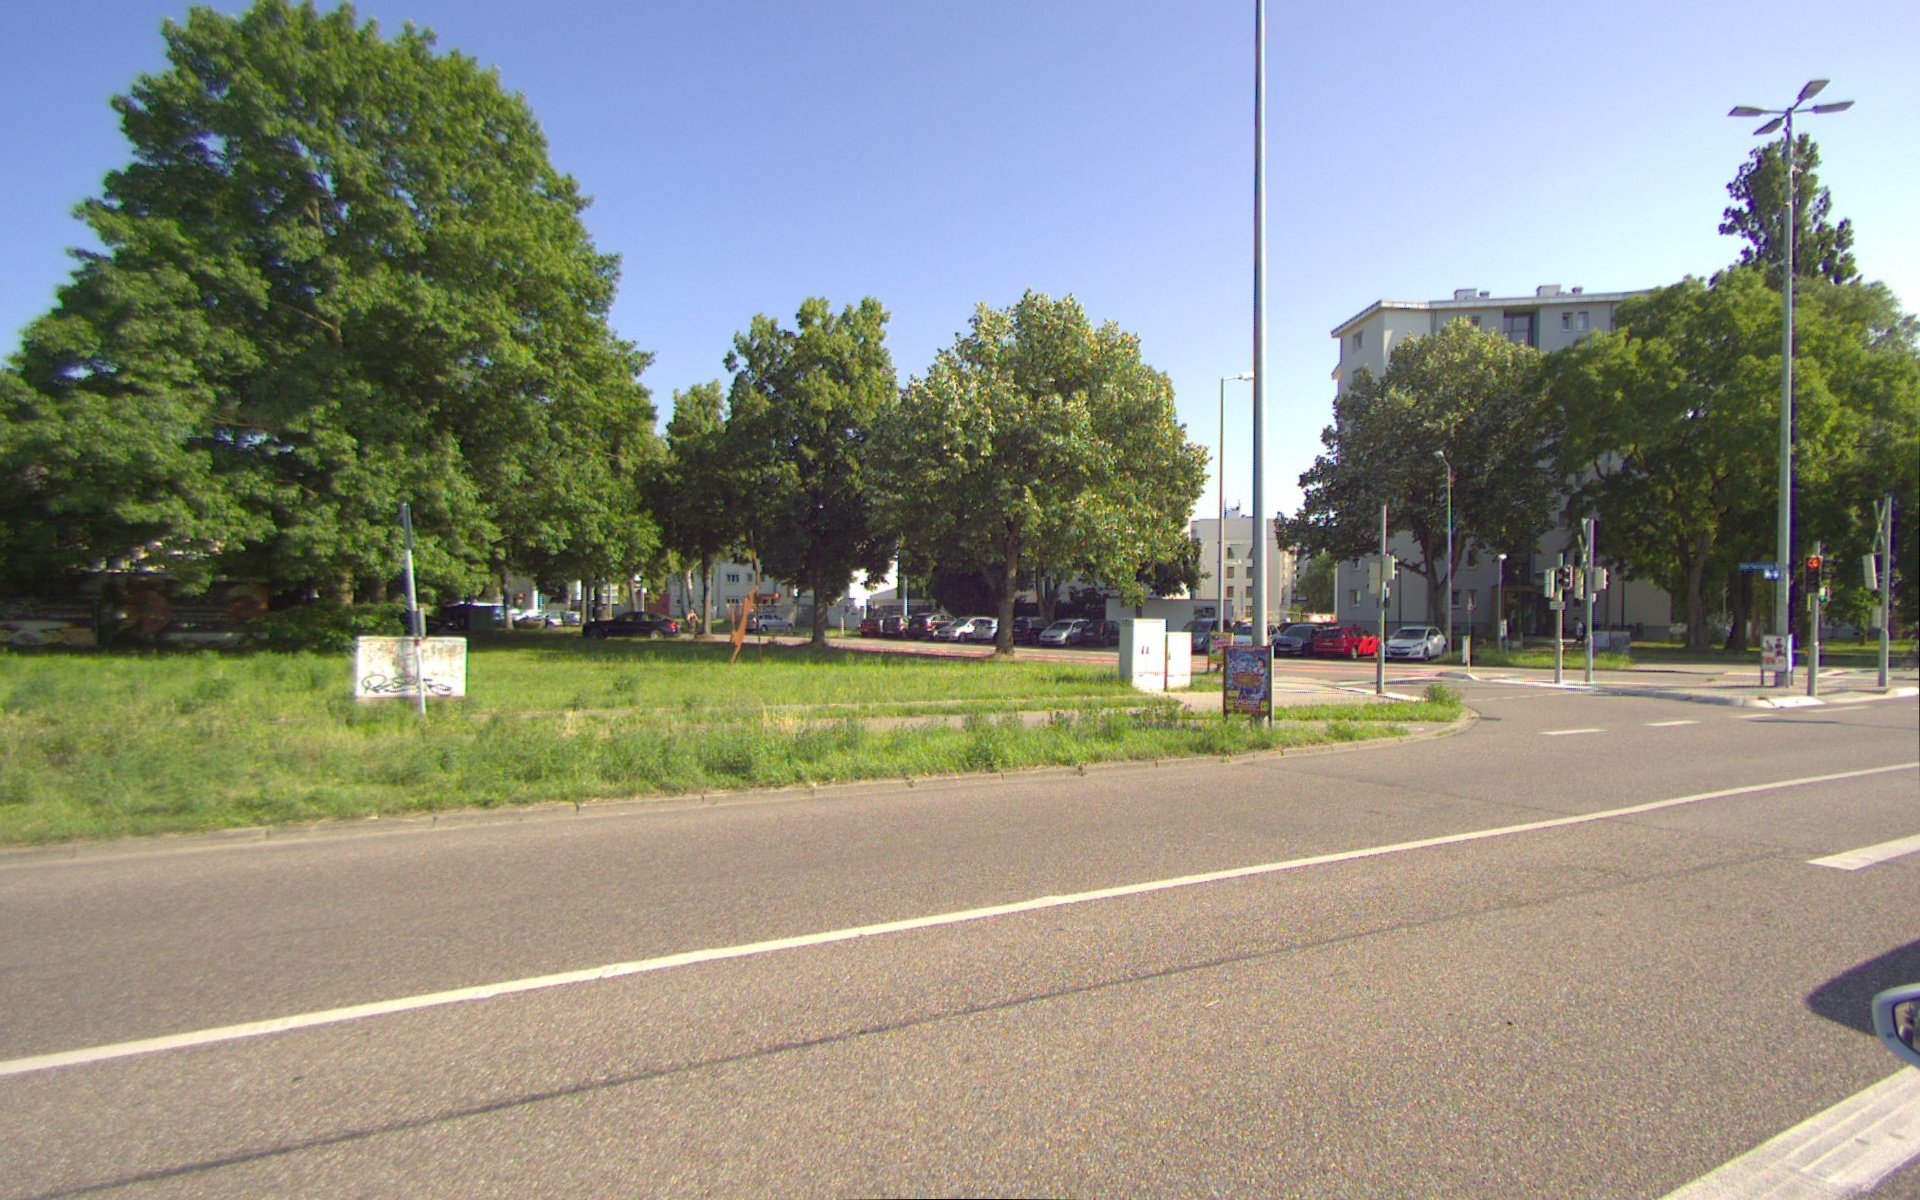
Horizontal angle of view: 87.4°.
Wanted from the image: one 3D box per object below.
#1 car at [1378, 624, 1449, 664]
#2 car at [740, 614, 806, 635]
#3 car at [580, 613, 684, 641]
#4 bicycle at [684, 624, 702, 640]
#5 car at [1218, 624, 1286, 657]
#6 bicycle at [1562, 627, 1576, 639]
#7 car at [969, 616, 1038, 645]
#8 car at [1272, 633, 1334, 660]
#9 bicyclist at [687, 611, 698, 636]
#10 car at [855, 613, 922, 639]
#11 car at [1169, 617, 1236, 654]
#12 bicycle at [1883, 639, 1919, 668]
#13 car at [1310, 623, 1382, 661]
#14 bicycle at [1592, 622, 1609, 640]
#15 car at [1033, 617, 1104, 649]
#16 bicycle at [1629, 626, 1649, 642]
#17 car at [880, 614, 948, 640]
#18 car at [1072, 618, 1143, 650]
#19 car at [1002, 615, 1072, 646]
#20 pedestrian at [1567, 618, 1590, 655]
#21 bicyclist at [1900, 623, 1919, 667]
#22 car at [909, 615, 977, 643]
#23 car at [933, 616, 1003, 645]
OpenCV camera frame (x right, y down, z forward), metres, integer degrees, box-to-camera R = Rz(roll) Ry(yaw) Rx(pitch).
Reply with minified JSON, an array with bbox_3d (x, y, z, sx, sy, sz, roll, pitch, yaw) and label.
[{"bbox_3d":[20.531,1.941,45.392,1.760,1.459,3.977,0,2,43],"label":"car"},{"bbox_3d":[-14.187,1.865,76.323,1.760,1.497,4.786,0,-1,43],"label":"car"},{"bbox_3d":[-16.245,1.333,49.943,4.682,1.338,1.524,1,-1,-8],"label":"car"},{"bbox_3d":[-16.713,1.994,62.815,0.646,0.915,1.796,1,0,-28],"label":"bicycle"},{"bbox_3d":[14.711,2.020,50.567,1.759,1.541,3.979,0,-1,41],"label":"car"},{"bbox_3d":[39.375,2.101,64.939,0.574,0.718,2.236,1,0,26],"label":"bicycle"},{"bbox_3d":[2.718,1.821,61.464,1.758,1.497,4.755,0,2,39],"label":"car"},{"bbox_3d":[16.646,2.205,48.680,1.445,1.209,3.765,0,-1,43],"label":"car"},{"bbox_3d":[-16.709,1.475,62.742,0.610,1.544,0.623,0,1,-26],"label":"bicyclist"},{"bbox_3d":[-4.795,1.752,68.351,1.758,1.497,4.791,0,2,39],"label":"car"},{"bbox_3d":[12.689,1.848,52.405,1.759,1.835,3.979,0,-1,41],"label":"car"},{"bbox_3d":[35.333,1.980,37.138,2.033,1.054,0.621,1,0,-7],"label":"bicycle"},{"bbox_3d":[18.249,1.937,47.386,1.761,1.435,3.975,0,3,44],"label":"car"},{"bbox_3d":[40.772,1.992,63.903,0.601,1.080,1.916,1,-2,24],"label":"bicycle"},{"bbox_3d":[6.278,1.839,57.811,1.758,1.497,4.692,0,3,39],"label":"car"},{"bbox_3d":[42.687,2.131,63.166,0.658,0.932,2.404,1,-1,26],"label":"bicycle"},{"bbox_3d":[-3.032,1.759,66.883,1.758,1.497,4.791,0,2,39],"label":"car"},{"bbox_3d":[8.434,1.894,57.158,1.758,1.497,4.791,0,2,39],"label":"car"},{"bbox_3d":[4.619,1.799,59.888,1.758,1.497,4.791,0,3,39],"label":"car"},{"bbox_3d":[30.112,1.784,48.935,0.693,1.735,0.623,2,-1,-18],"label":"pedestrian"},{"bbox_3d":[35.357,1.654,37.139,0.591,1.581,0.608,1,0,-7],"label":"bicyclist"},{"bbox_3d":[-1.051,1.816,64.630,1.758,1.497,4.791,0,2,39],"label":"car"},{"bbox_3d":[0.521,1.866,62.706,1.758,1.497,4.791,0,2,39],"label":"car"}]
